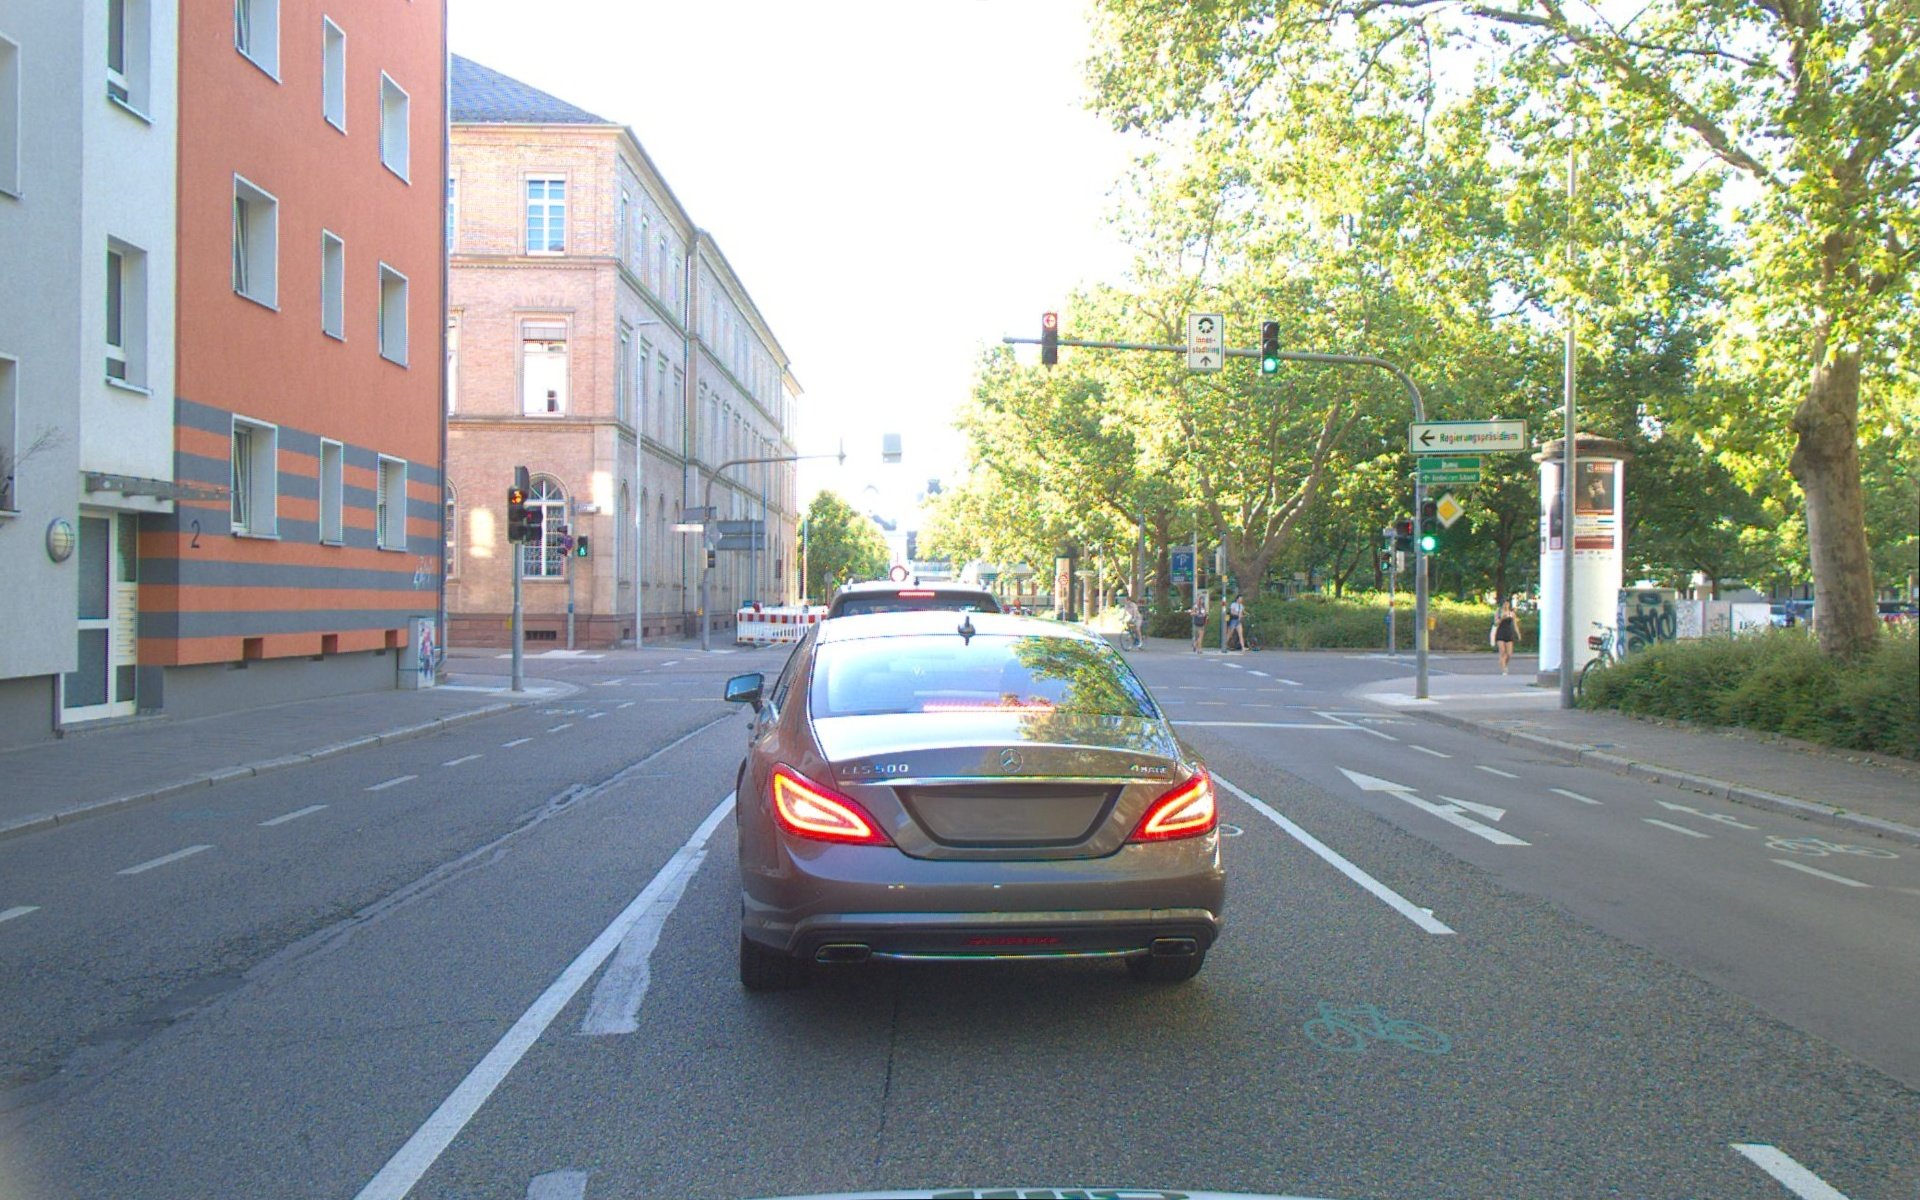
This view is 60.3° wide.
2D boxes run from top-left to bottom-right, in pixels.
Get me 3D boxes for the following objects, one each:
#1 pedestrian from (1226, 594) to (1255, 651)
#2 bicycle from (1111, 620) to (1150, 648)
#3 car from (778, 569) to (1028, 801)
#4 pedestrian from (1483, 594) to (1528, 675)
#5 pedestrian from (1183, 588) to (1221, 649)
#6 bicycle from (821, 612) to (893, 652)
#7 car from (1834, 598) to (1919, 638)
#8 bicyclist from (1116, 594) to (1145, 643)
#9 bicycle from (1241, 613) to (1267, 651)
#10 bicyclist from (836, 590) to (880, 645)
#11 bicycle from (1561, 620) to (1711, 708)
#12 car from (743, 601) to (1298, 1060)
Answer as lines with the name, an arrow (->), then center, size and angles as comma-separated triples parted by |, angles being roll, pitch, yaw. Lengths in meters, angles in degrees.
pedestrian -> 8.518, 0.679, 50.216 | 0.669, 1.727, 0.970 | 1, 0, -1
bicycle -> 5.613, 1.120, 54.318 | 0.538, 0.906, 1.864 | 1, 0, 30
car -> -0.378, 0.613, 13.756 | 1.772, 1.641, 4.000 | 0, 0, 1
pedestrian -> 11.377, 0.708, 34.517 | 0.781, 1.659, 0.908 | 1, -1, 12
pedestrian -> 7.353, 0.577, 50.302 | 0.724, 1.840, 0.900 | 0, -2, -30
bicycle -> -2.871, 0.901, 46.327 | 1.942, 1.081, 0.697 | 1, -1, -37
car -> 36.274, 0.696, 65.142 | 1.596, 1.508, 3.794 | 1, 0, -2
bicyclist -> 5.599, 0.611, 54.257 | 0.636, 1.586, 0.805 | 1, -1, 31
bicycle -> 8.883, 0.965, 50.010 | 0.513, 1.119, 1.741 | 1, 0, 1
bicyclist -> -2.854, 0.495, 46.323 | 0.943, 1.526, 0.811 | 1, -1, -37
bicycle -> 9.701, 0.910, 23.757 | 1.936, 1.210, 0.528 | 1, -1, -2
car -> -0.057, 0.751, 7.609 | 1.808, 1.454, 4.510 | 1, 0, -7
